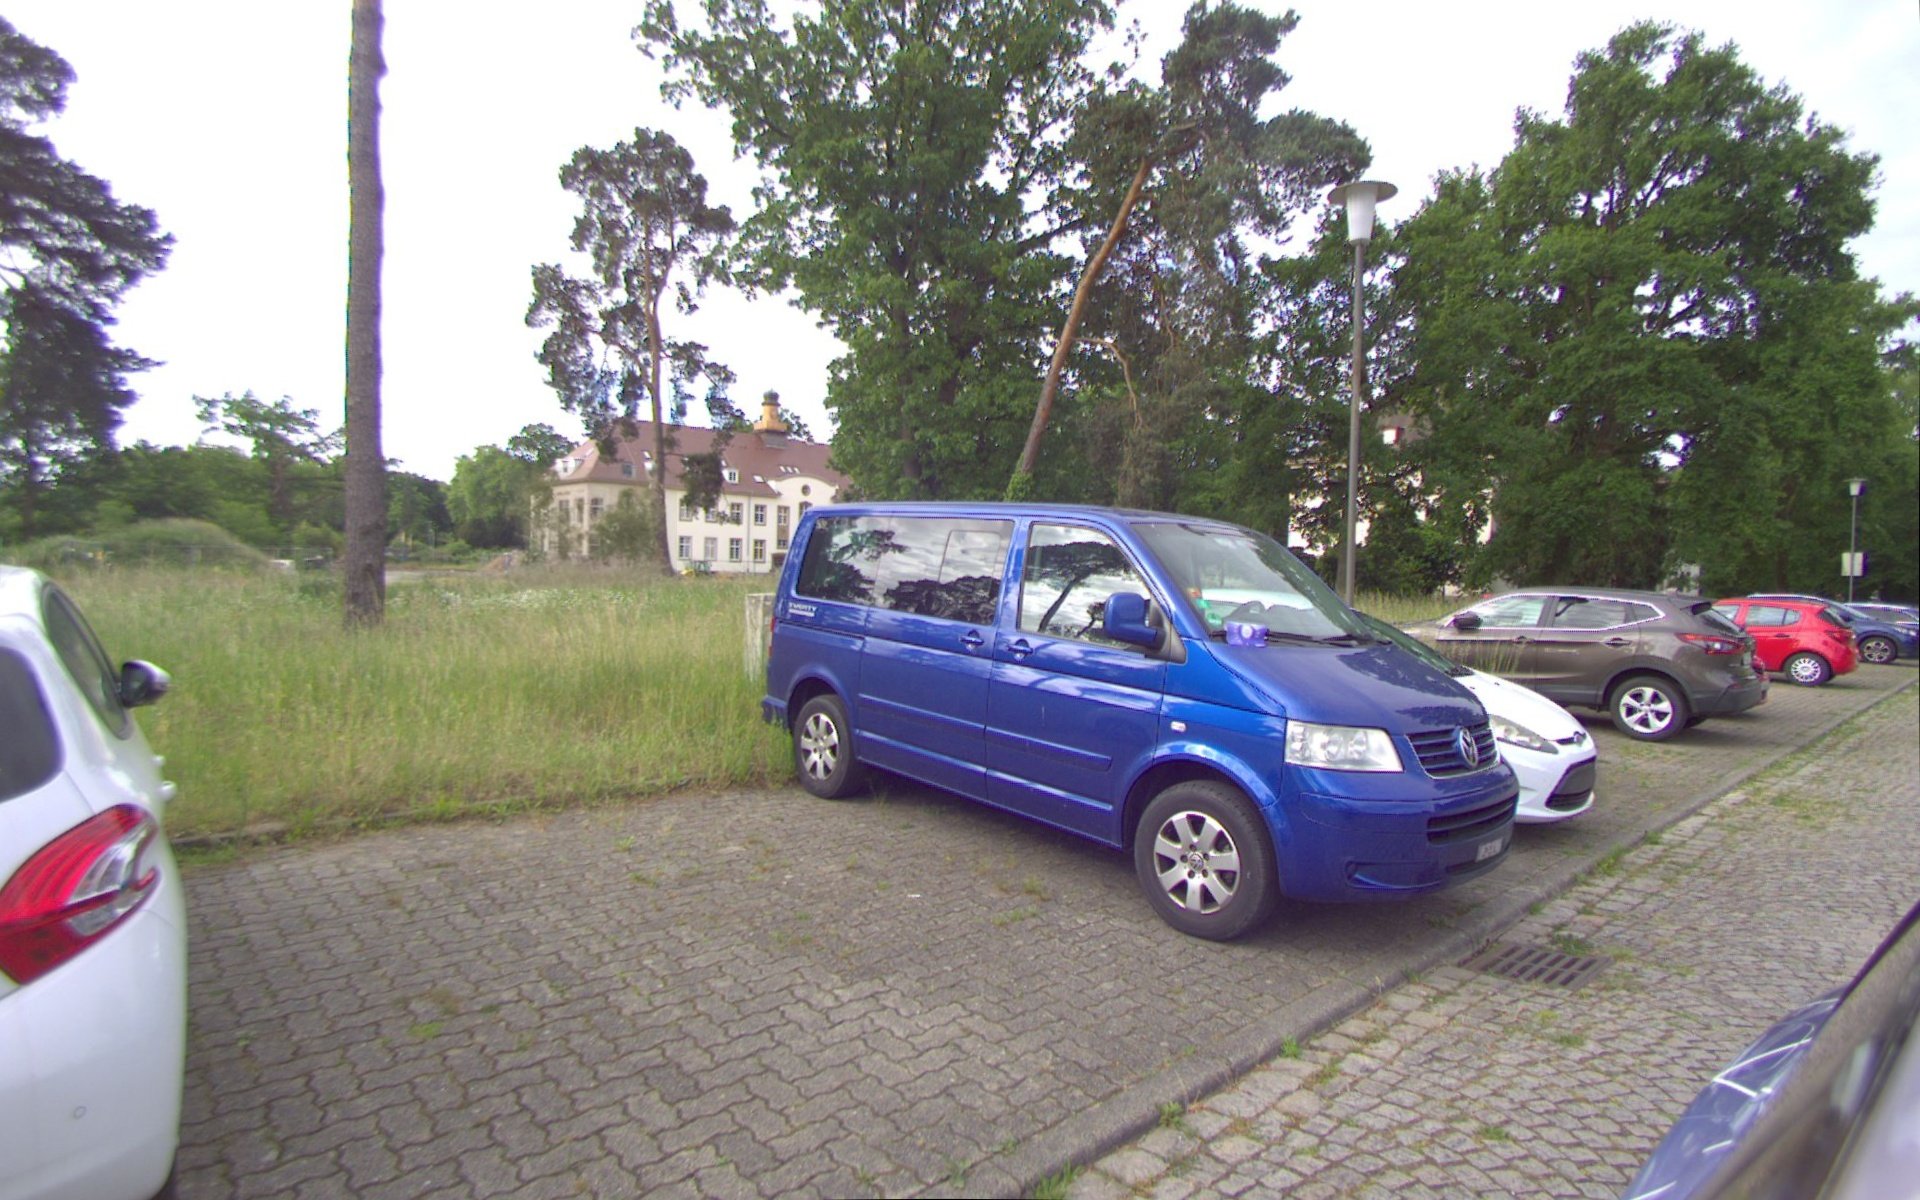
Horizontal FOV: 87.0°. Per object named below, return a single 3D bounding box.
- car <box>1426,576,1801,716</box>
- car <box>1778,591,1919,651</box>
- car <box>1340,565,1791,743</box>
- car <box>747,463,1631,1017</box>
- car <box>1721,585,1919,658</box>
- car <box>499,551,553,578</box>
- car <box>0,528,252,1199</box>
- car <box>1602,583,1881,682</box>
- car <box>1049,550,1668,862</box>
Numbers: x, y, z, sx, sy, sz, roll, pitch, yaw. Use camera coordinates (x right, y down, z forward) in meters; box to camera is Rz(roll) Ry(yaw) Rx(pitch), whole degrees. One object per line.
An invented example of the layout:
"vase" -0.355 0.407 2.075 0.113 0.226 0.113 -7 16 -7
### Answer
"car" 8.917 0.507 14.082 1.735 1.504 4.015 0 3 -41
"car" 25.650 0.581 28.465 1.556 1.443 3.874 0 3 -43
"car" 7.052 0.475 12.145 1.791 1.618 4.267 0 3 -43
"car" 0.871 0.344 6.027 1.969 1.969 4.816 0 4 -43
"car" 22.041 0.493 25.636 1.556 1.557 4.146 0 3 -43
"car" -39.437 -3.231 91.860 5.847 2.268 2.283 4 3 42
"car" -3.202 0.558 2.754 1.727 1.490 3.872 0 3 -40
"car" 14.509 0.521 18.958 1.556 1.477 3.891 0 3 -43
"car" 2.752 0.522 7.642 1.810 1.489 3.870 0 6 -43
